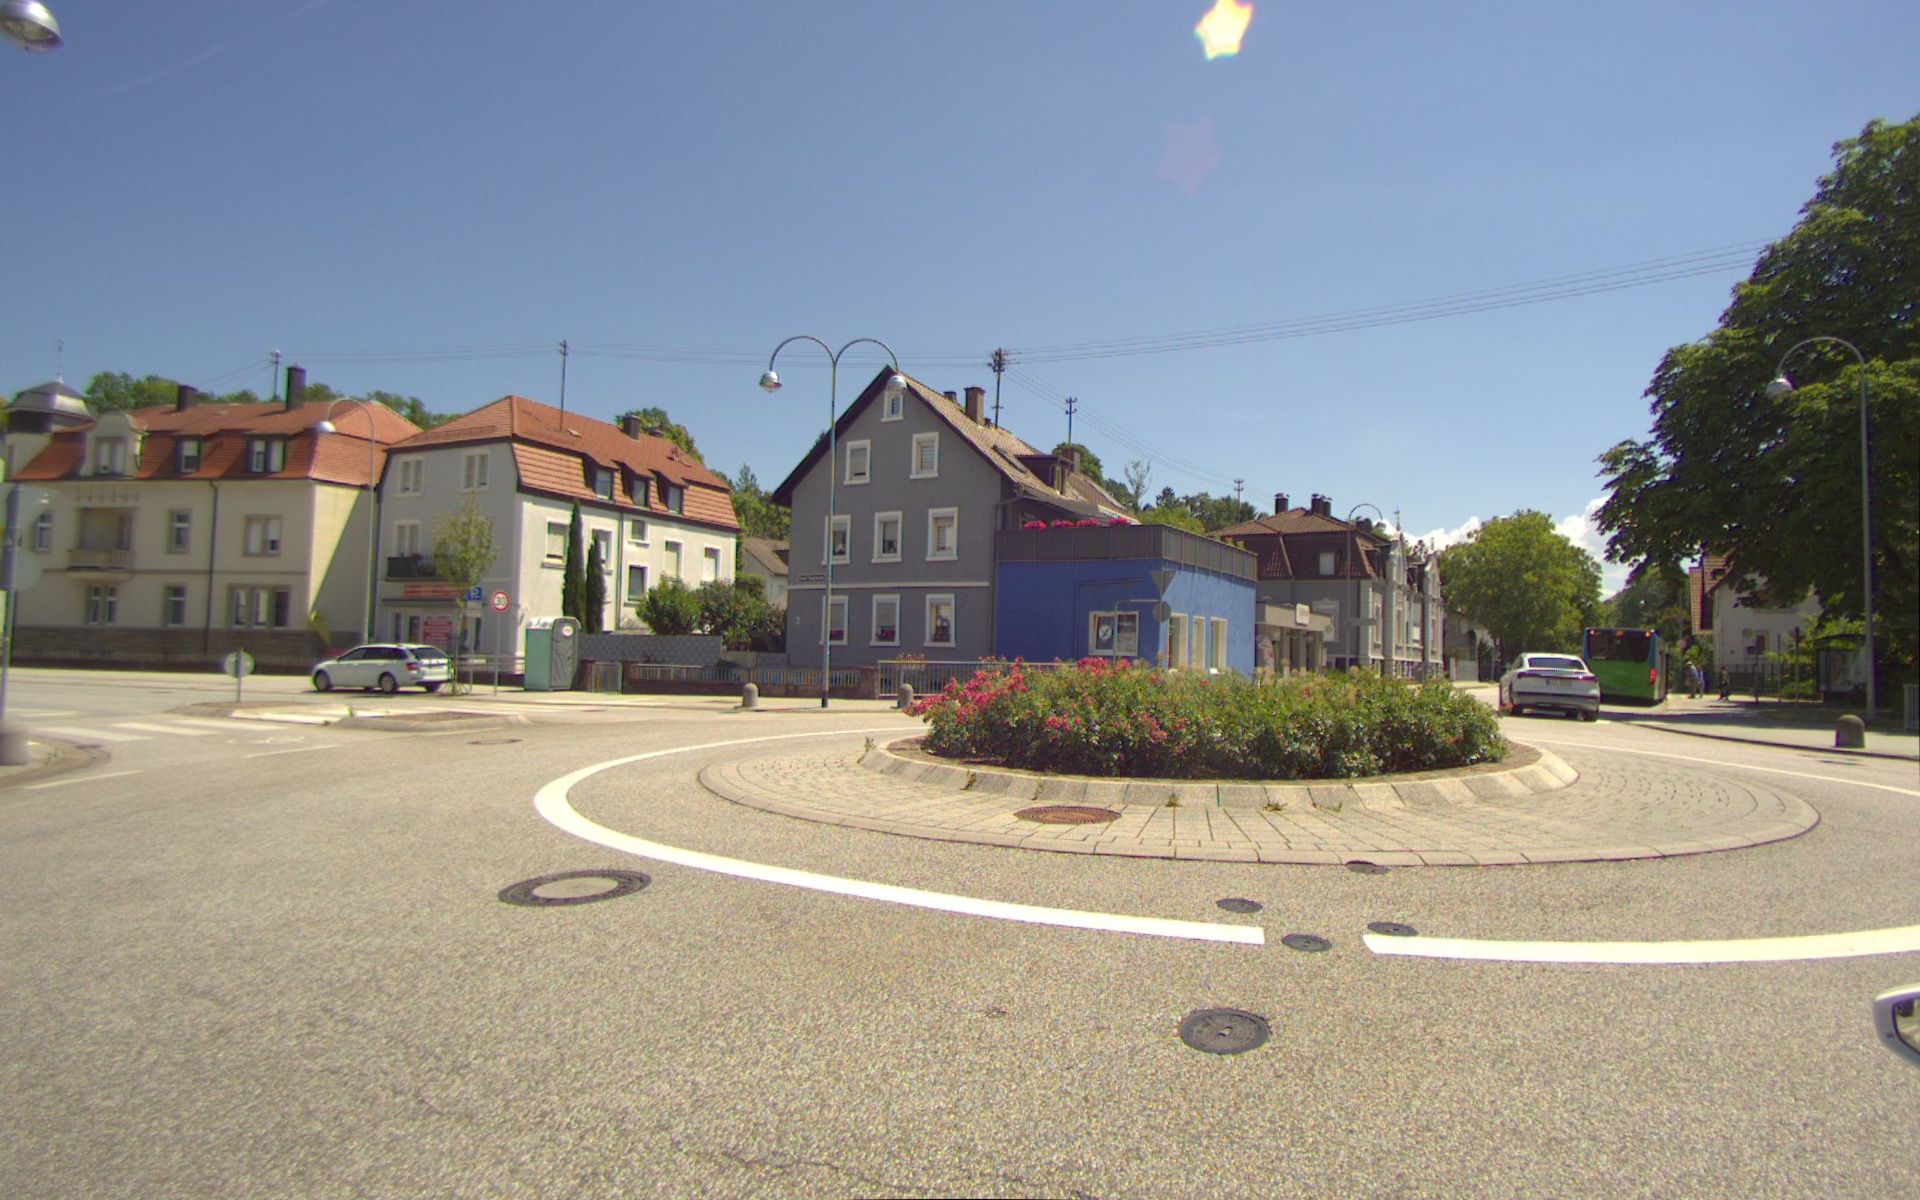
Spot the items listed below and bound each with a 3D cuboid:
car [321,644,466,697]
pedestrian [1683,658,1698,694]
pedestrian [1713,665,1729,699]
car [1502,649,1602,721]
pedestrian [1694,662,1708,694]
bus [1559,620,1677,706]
[{"bbox_3d":[-17.258,2.103,30.605,3.998,1.410,1.609,0,0,19],"label":"car"},{"bbox_3d":[34.864,3.611,47.930,0.495,1.672,0.578,0,-3,30],"label":"pedestrian"},{"bbox_3d":[33.979,3.645,44.875,0.482,1.473,0.530,0,-3,30],"label":"pedestrian"},{"bbox_3d":[15.353,2.154,26.247,1.869,1.683,4.406,0,-3,26],"label":"car"},{"bbox_3d":[35.591,3.738,48.255,0.481,1.542,0.542,0,-3,30],"label":"pedestrian"},{"bbox_3d":[31.334,3.021,47.296,3.658,3.212,18.009,1,-3,36],"label":"bus"}]
